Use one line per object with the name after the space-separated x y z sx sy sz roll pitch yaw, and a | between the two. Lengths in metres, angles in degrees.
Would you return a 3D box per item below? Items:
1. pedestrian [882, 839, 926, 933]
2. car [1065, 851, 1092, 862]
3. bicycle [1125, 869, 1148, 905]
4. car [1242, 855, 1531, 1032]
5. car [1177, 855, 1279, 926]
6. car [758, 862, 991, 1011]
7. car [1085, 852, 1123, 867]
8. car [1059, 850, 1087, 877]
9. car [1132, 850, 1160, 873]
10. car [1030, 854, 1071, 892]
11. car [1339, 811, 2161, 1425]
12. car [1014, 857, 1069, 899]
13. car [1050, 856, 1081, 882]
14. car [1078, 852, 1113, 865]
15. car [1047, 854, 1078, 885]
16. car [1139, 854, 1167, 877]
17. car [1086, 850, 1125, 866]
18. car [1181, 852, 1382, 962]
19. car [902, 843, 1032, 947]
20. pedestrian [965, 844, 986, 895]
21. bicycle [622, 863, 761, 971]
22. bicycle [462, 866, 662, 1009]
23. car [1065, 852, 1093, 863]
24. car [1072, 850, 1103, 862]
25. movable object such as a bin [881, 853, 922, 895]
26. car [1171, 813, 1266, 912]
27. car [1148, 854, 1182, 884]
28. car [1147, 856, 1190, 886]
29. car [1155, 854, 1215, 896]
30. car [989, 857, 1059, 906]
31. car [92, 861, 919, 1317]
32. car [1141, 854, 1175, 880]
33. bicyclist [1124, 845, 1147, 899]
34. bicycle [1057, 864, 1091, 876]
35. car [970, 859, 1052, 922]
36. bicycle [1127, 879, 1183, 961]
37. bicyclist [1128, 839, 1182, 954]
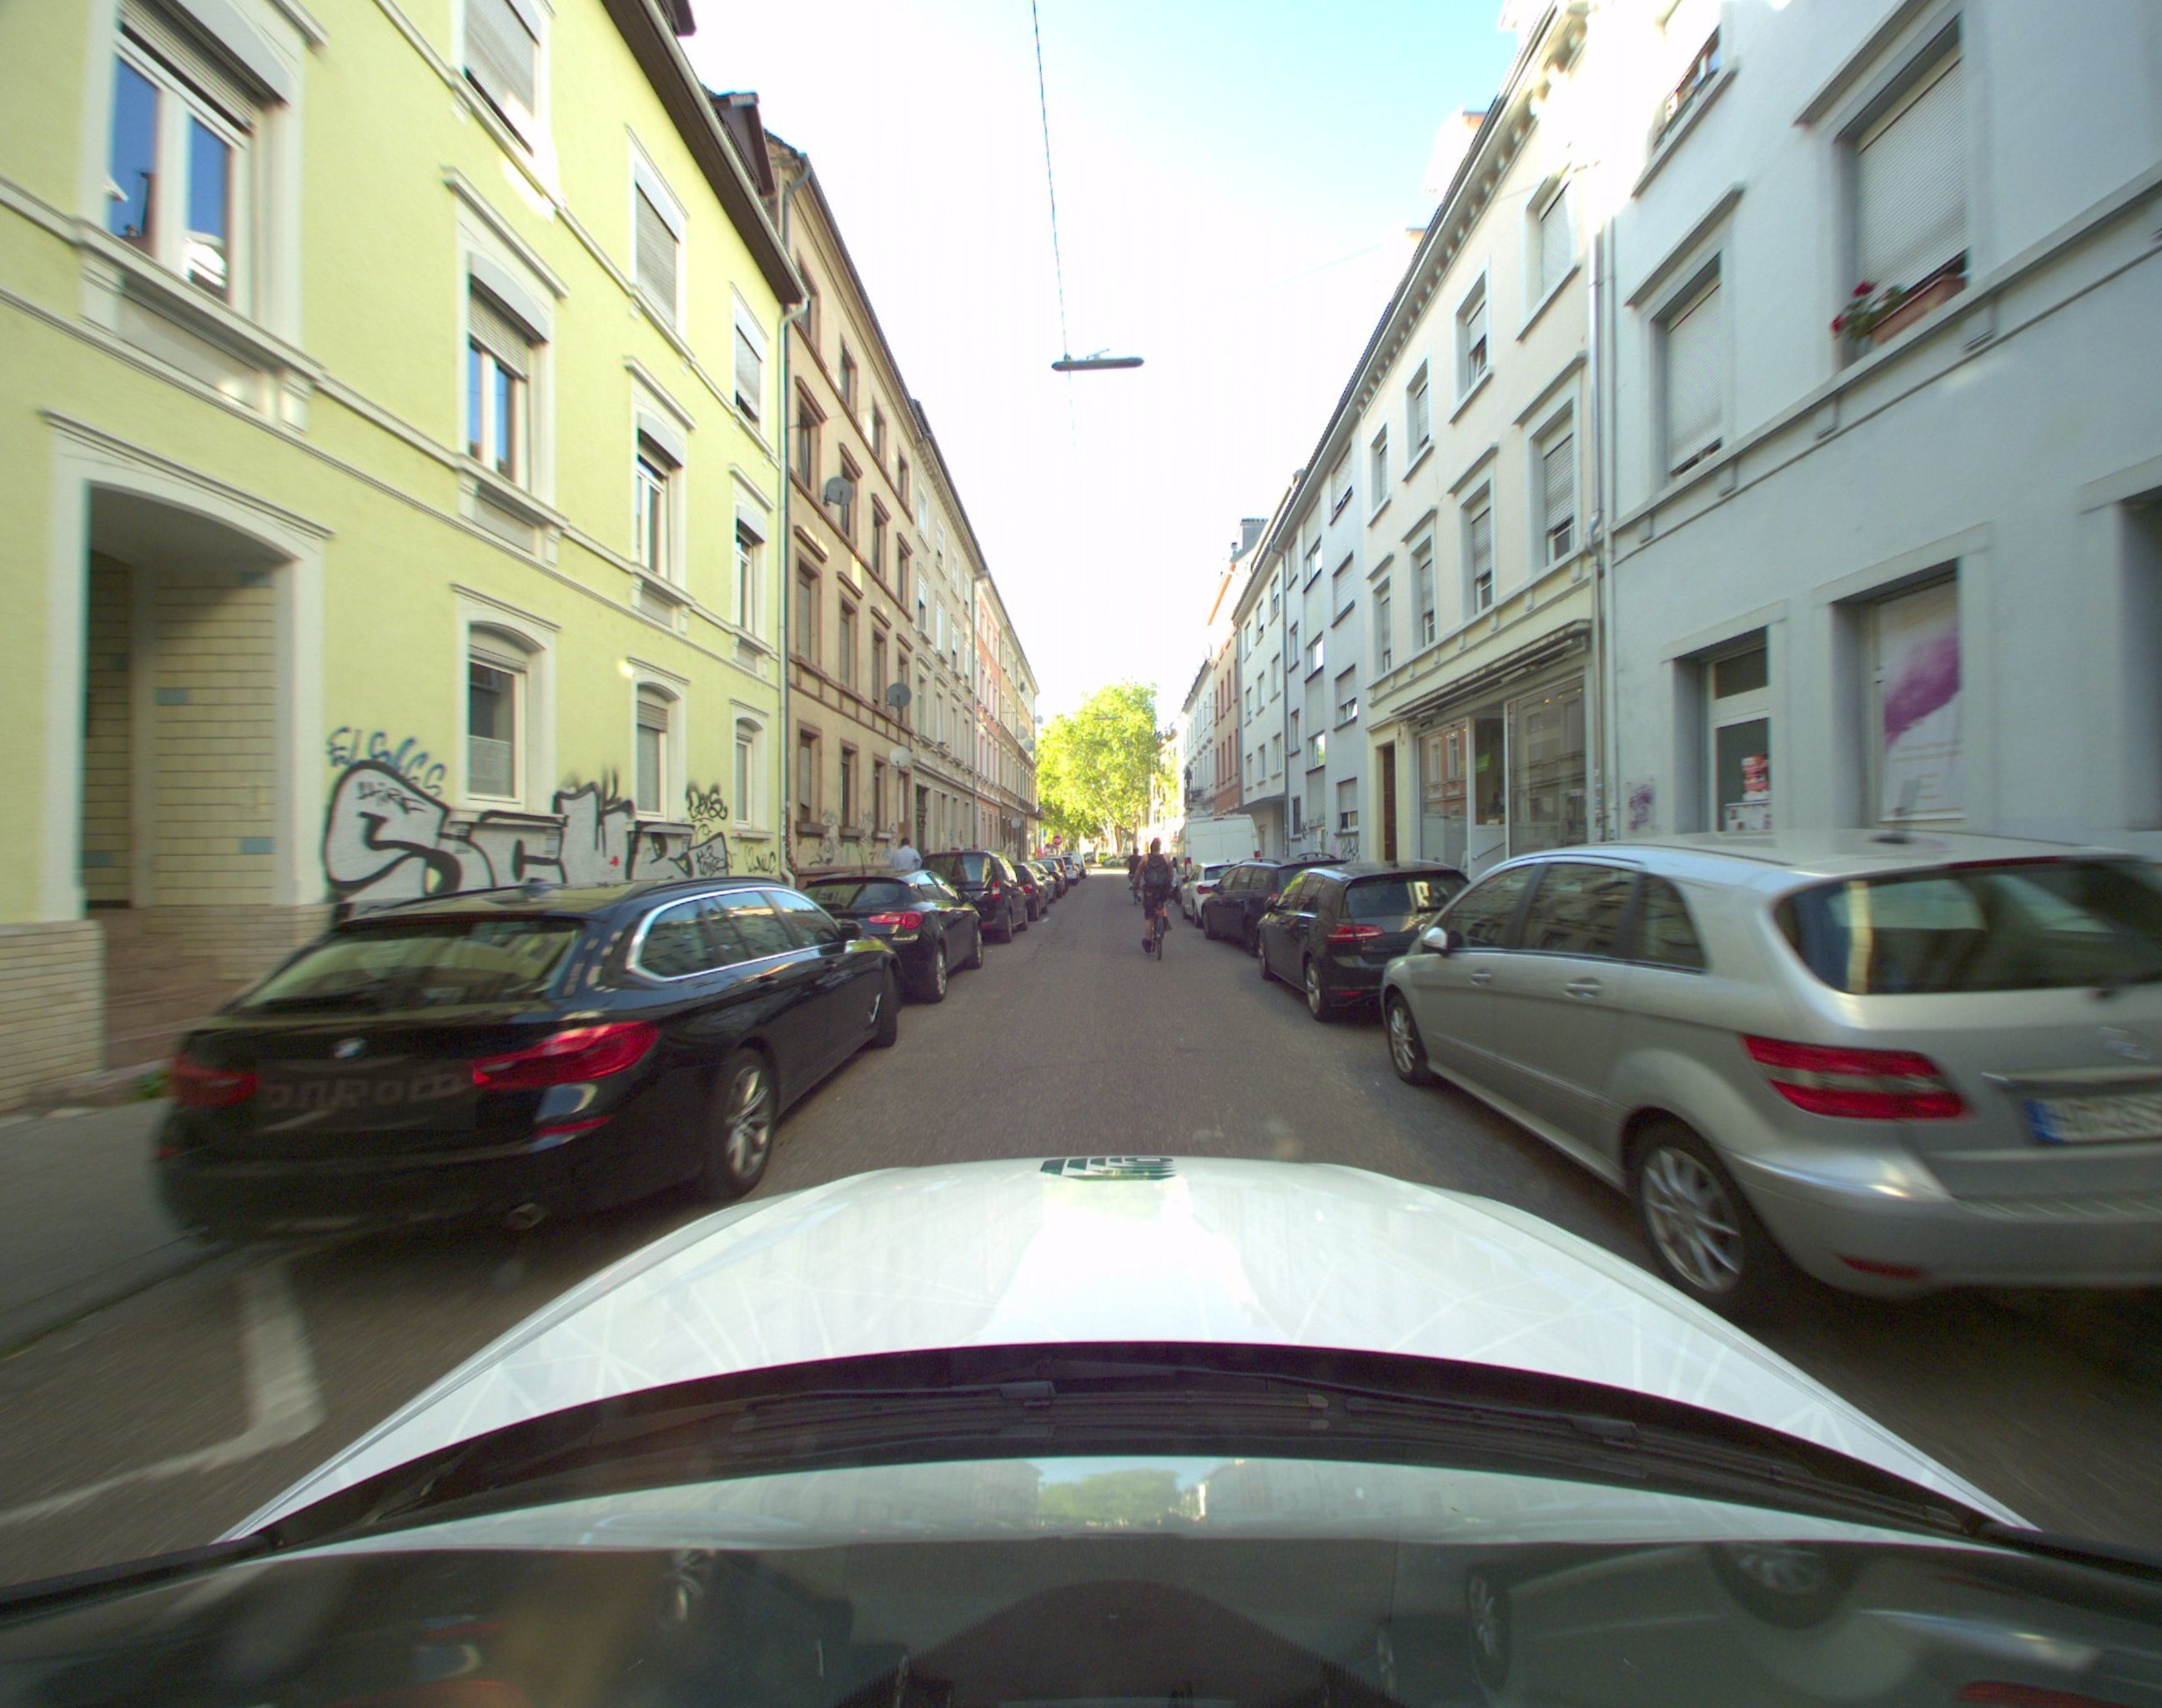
-3.521 0.616 16.266 0.648 1.817 0.754 1 0 2 | pedestrian
-0.455 0.459 134.599 4.458 1.696 1.864 -1 0 -3 | car
1.744 1.028 25.949 0.661 1.037 1.960 -1 0 2 | bicycle
3.043 0.773 9.121 1.739 1.485 4.245 -1 0 2 | car
3.293 0.772 18.957 1.719 1.429 3.833 -1 0 1 | car
-2.298 0.849 10.184 1.730 1.427 4.002 -1 0 2 | car
2.803 0.650 99.898 4.458 1.696 1.864 -1 0 -3 | car
-0.512 0.644 55.687 1.781 1.737 3.877 -1 0 2 | car
5.140 0.579 65.235 1.887 1.769 3.999 -1 0 0 | car
-1.315 0.807 36.114 1.599 1.530 3.379 -2 0 0 | car
2.891 0.694 4.370 1.687 1.608 4.376 -3 0 2 | car
-1.440 0.863 31.153 1.699 1.414 4.304 -1 0 2 | car
-0.868 0.852 47.251 1.547 1.399 3.669 -1 0 2 | car
1.912 0.571 106.463 4.458 1.696 1.864 -1 0 -3 | car
-0.970 0.785 43.486 1.540 1.550 3.463 -1 0 -1 | car
4.961 0.761 56.280 1.647 1.530 3.574 -1 0 0 | car
2.803 0.510 94.906 4.458 1.759 1.864 -1 0 -3 | car
3.257 0.773 14.293 1.810 1.478 4.596 -4 1 -7 | car
-2.105 0.715 16.144 1.794 1.698 4.002 -3 0 2 | car
-3.956 0.579 30.579 0.608 1.858 0.754 1 0 1 | pedestrian
-5.173 0.773 11.024 0.665 1.245 2.328 2 0 1 | bicycle
-5.263 0.775 8.452 0.671 1.271 2.087 0 0 2 | bicycle
-0.276 0.537 132.220 4.458 1.696 1.864 -1 0 -3 | car
0.919 0.303 119.863 4.458 1.696 1.864 -1 0 -3 | car
-4.699 0.520 21.369 0.786 1.025 0.757 4 0 4 | movable object such as a bin
3.932 0.224 24.391 2.194 2.551 6.043 -1 0 4 | car
4.454 0.756 43.717 1.586 1.492 3.878 -1 0 2 | car
4.093 0.774 38.631 1.652 1.338 4.000 -1 0 0 | car
3.879 0.741 30.925 1.726 1.470 4.020 -1 0 -1 | car
-1.743 0.823 26.097 1.666 1.430 3.893 -1 0 4 | car
-2.432 0.823 5.122 1.856 1.440 4.644 -1 1 0 | car
4.622 0.773 49.175 1.704 1.470 4.000 -1 0 0 | car
1.712 0.561 25.848 0.667 1.658 0.877 -1 0 2 | bicyclist
-0.549 1.276 65.234 2.707 0.892 0.618 -1 0 -1 | bicycle
-1.728 0.874 21.116 1.585 1.440 3.656 -1 0 3 | car
1.111 0.973 12.617 0.737 1.100 2.043 1 0 2 | bicycle
1.115 0.622 12.534 0.737 1.679 1.117 1 0 1 | bicyclist
